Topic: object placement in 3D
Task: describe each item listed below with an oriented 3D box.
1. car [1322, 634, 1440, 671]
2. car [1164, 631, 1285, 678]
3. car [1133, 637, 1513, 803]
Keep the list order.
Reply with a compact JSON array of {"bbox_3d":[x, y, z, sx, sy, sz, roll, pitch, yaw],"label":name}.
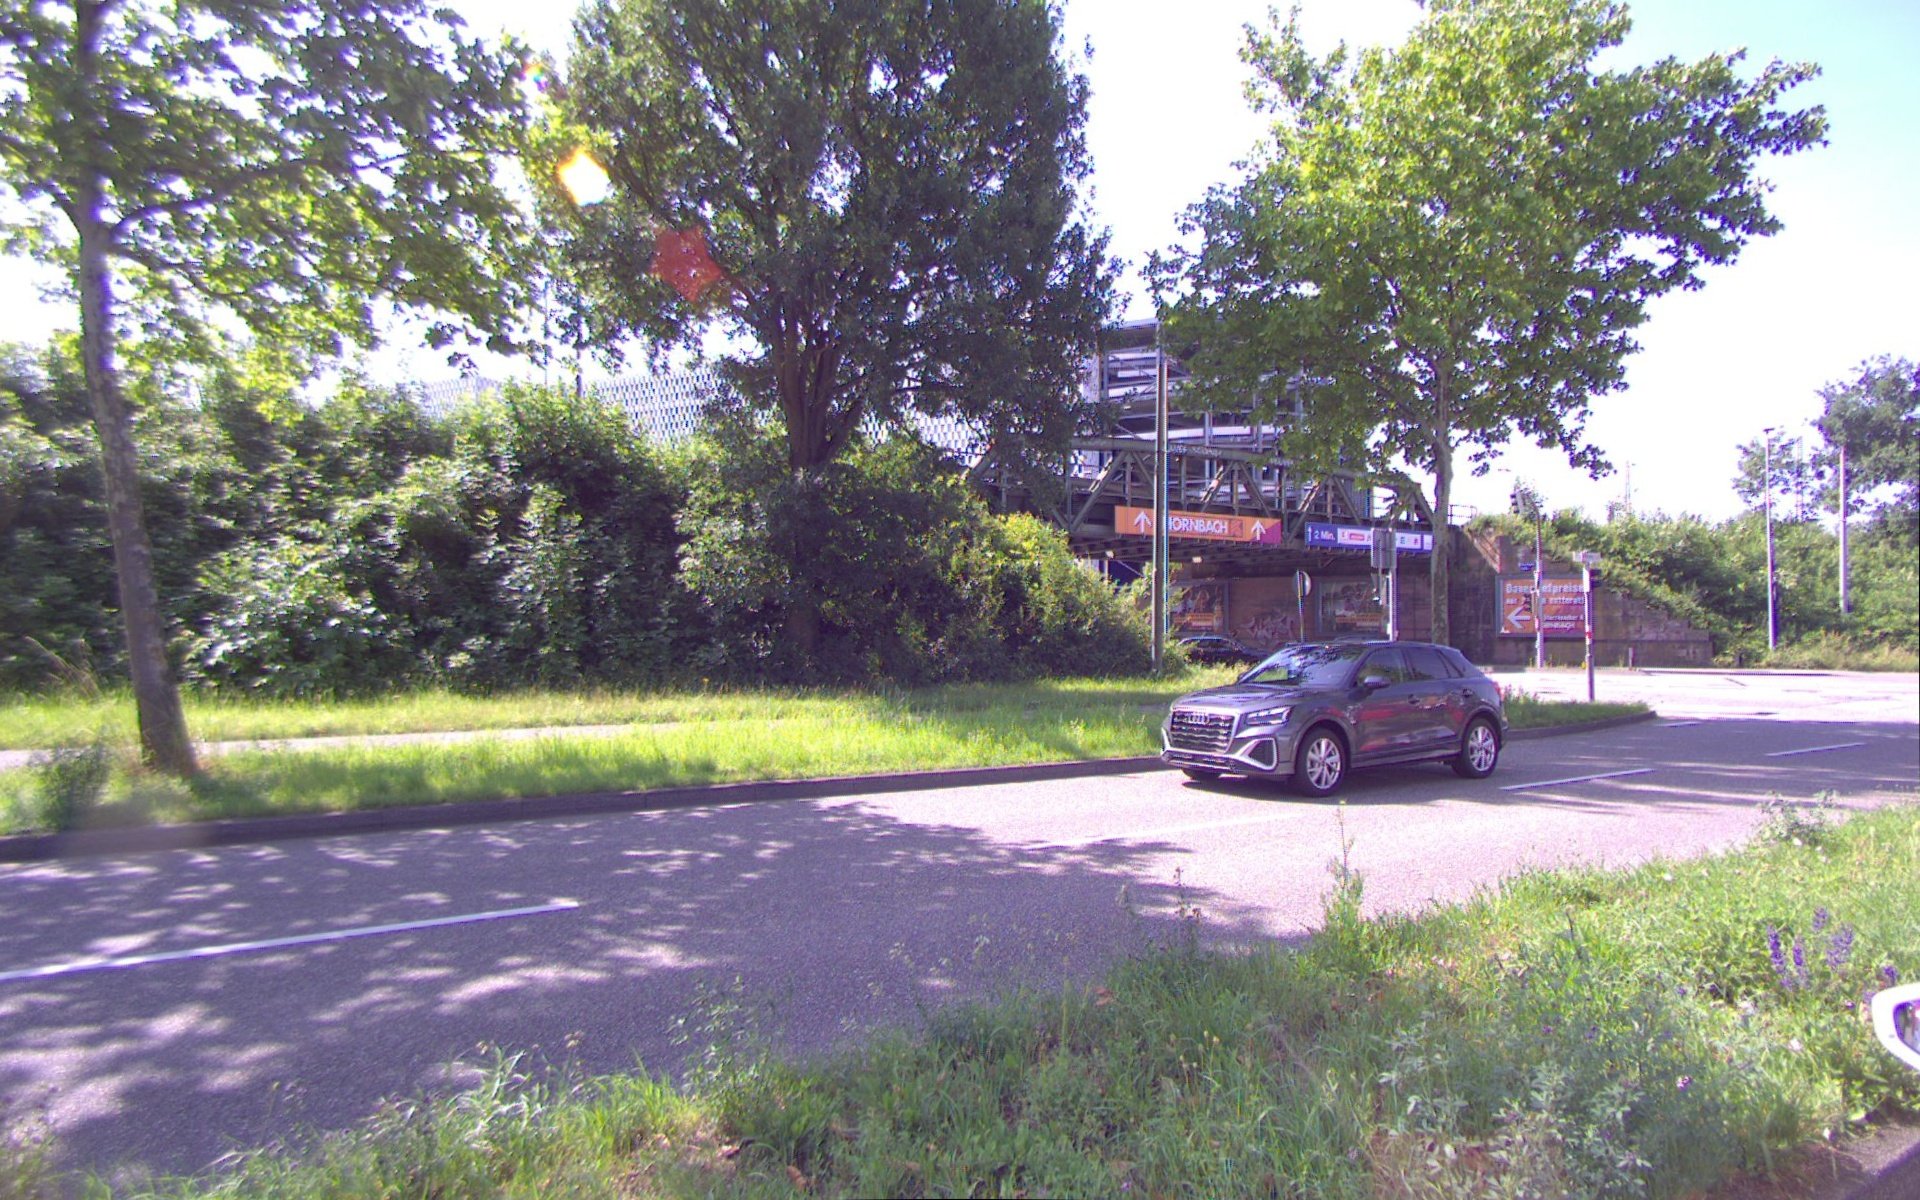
[{"bbox_3d":[16.877,2.081,40.358,4.253,1.413,1.770,-1,-2,24],"label":"car"},{"bbox_3d":[9.336,1.903,35.463,3.869,1.500,1.822,1,-1,25],"label":"car"},{"bbox_3d":[3.966,1.177,10.869,3.894,1.486,1.854,2,-4,-32],"label":"car"}]
